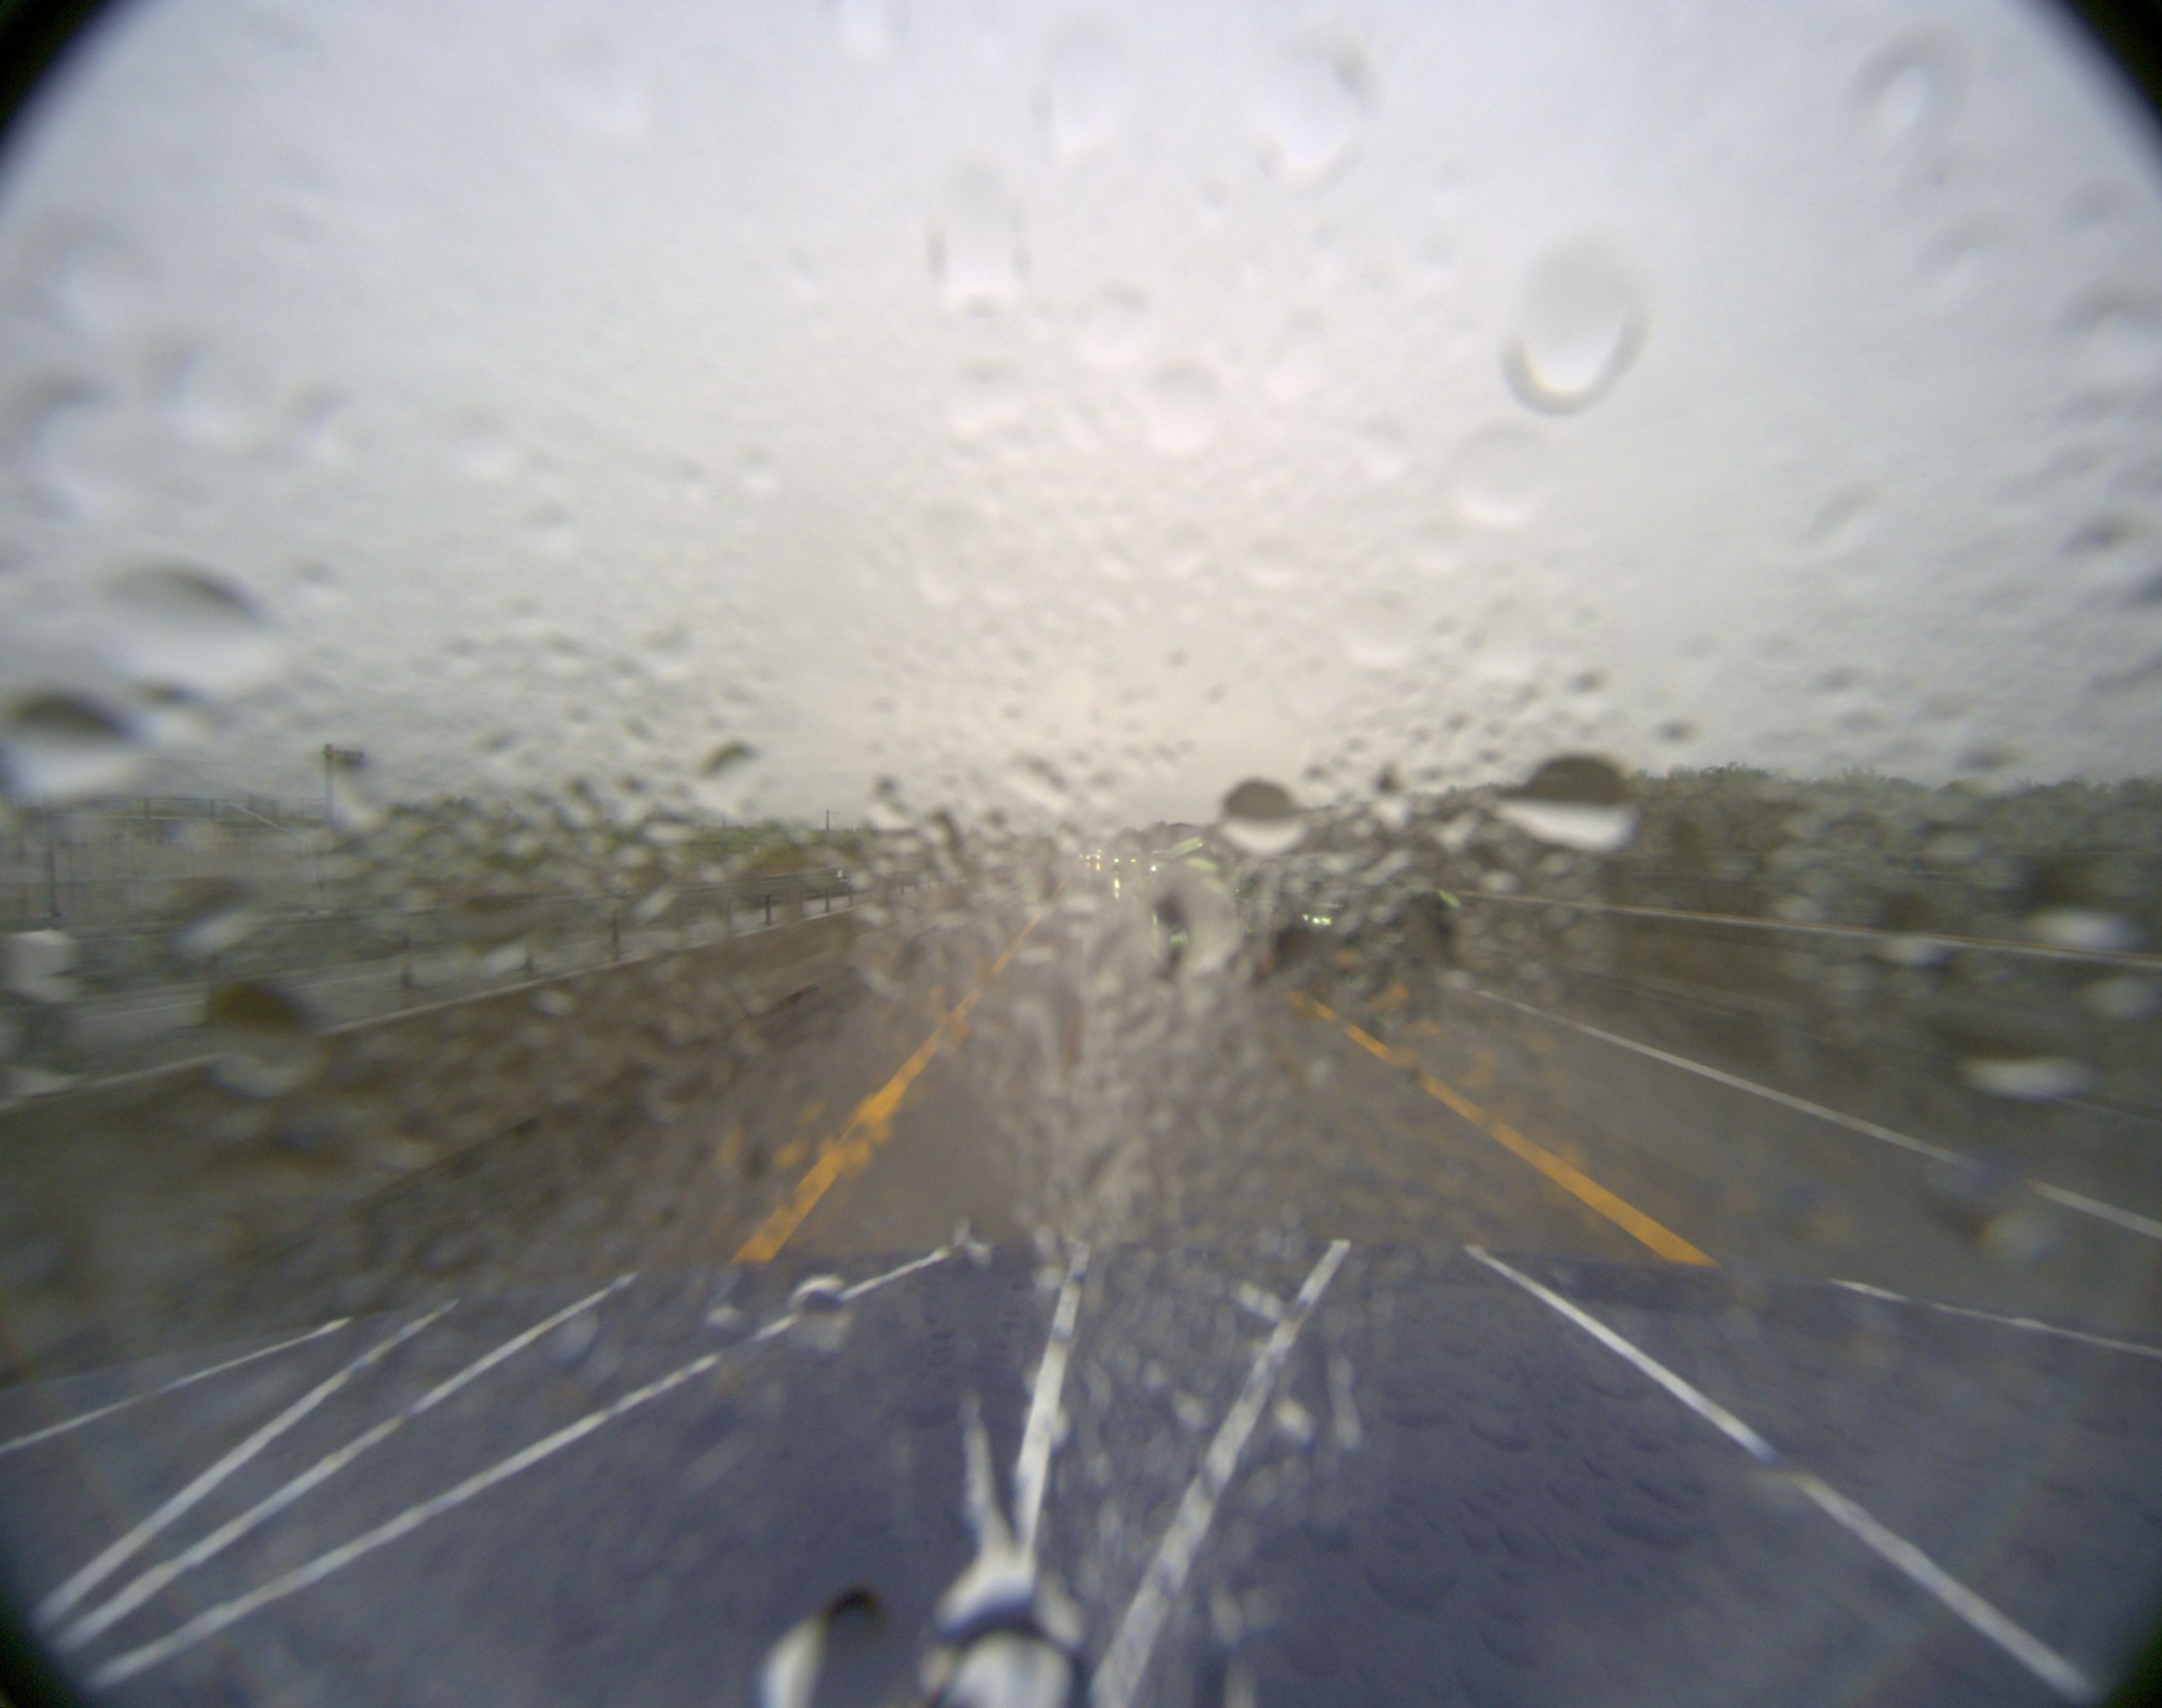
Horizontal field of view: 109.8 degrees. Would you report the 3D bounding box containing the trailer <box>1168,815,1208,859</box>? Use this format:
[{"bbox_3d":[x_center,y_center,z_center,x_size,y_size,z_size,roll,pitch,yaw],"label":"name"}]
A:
[{"bbox_3d":[11.337,-1.791,81.755,2.693,4.253,13.069,-2,1,1],"label":"trailer"}]

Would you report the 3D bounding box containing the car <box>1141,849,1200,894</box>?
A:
[{"bbox_3d":[3.710,0.680,32.173,1.971,1.670,3.999,-2,1,0],"label":"car"}]

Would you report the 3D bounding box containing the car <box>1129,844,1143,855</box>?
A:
[{"bbox_3d":[8.615,-0.731,118.618,1.897,1.476,3.999,-3,1,1],"label":"car"}]

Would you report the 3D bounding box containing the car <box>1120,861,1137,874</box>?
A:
[{"bbox_3d":[4.077,1.162,65.463,1.335,1.105,3.199,1,0,1],"label":"car"}]

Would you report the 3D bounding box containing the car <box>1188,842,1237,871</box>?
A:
[{"bbox_3d":[7.518,0.100,43.842,2.043,1.498,4.719,-2,1,1],"label":"car"}]

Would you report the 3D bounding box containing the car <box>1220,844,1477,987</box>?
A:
[{"bbox_3d":[3.405,0.670,10.815,1.944,1.519,4.795,-2,0,0],"label":"car"}]

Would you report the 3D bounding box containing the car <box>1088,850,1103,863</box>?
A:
[{"bbox_3d":[2.121,0.300,111.291,1.998,1.762,3.999,-2,1,0],"label":"car"}]
